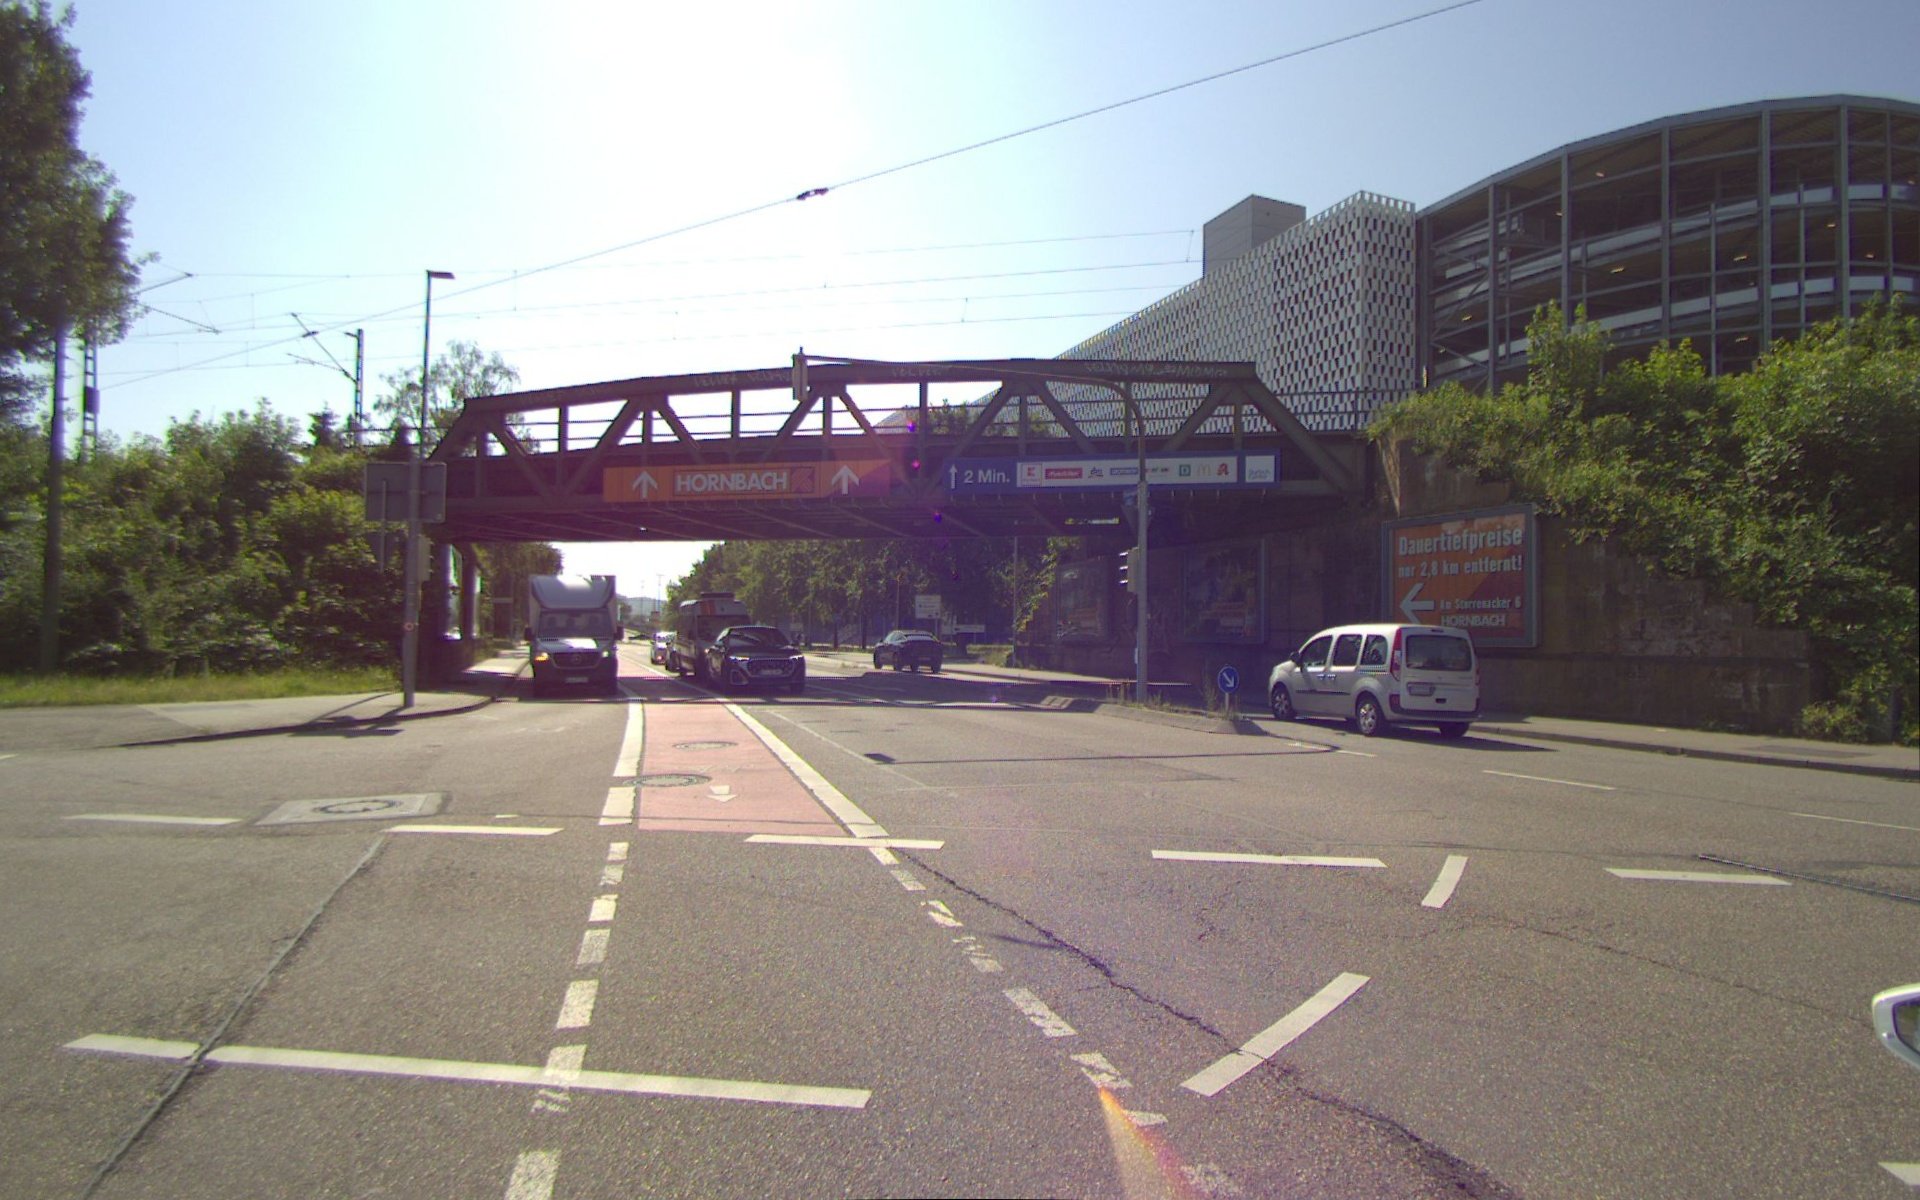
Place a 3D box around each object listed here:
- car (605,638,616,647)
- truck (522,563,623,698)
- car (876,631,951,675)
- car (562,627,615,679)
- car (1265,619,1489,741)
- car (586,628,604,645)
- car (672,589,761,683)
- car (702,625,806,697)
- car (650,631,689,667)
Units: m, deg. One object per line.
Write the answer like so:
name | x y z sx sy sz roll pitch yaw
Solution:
car | -67.938 8.349 195.336 1.907 1.684 4.210 1 -2 -20
truck | -10.472 0.868 26.998 2.187 3.146 6.830 1 -3 -22
car | -1.936 2.098 40.644 1.907 1.684 4.211 1 -2 -19
car | -14.696 2.059 39.880 1.862 1.773 3.983 1 0 -19
car | 7.057 1.279 17.484 1.760 1.862 3.994 1 -1 -9
car | -42.111 4.234 115.951 1.862 1.773 3.983 1 0 -19
car | -8.314 1.218 33.835 2.142 2.850 6.171 2 -2 -21
car | -5.327 1.513 25.580 1.877 1.668 3.979 1 -3 -23
car | -14.017 2.315 48.334 1.571 1.473 3.983 1 0 -19
